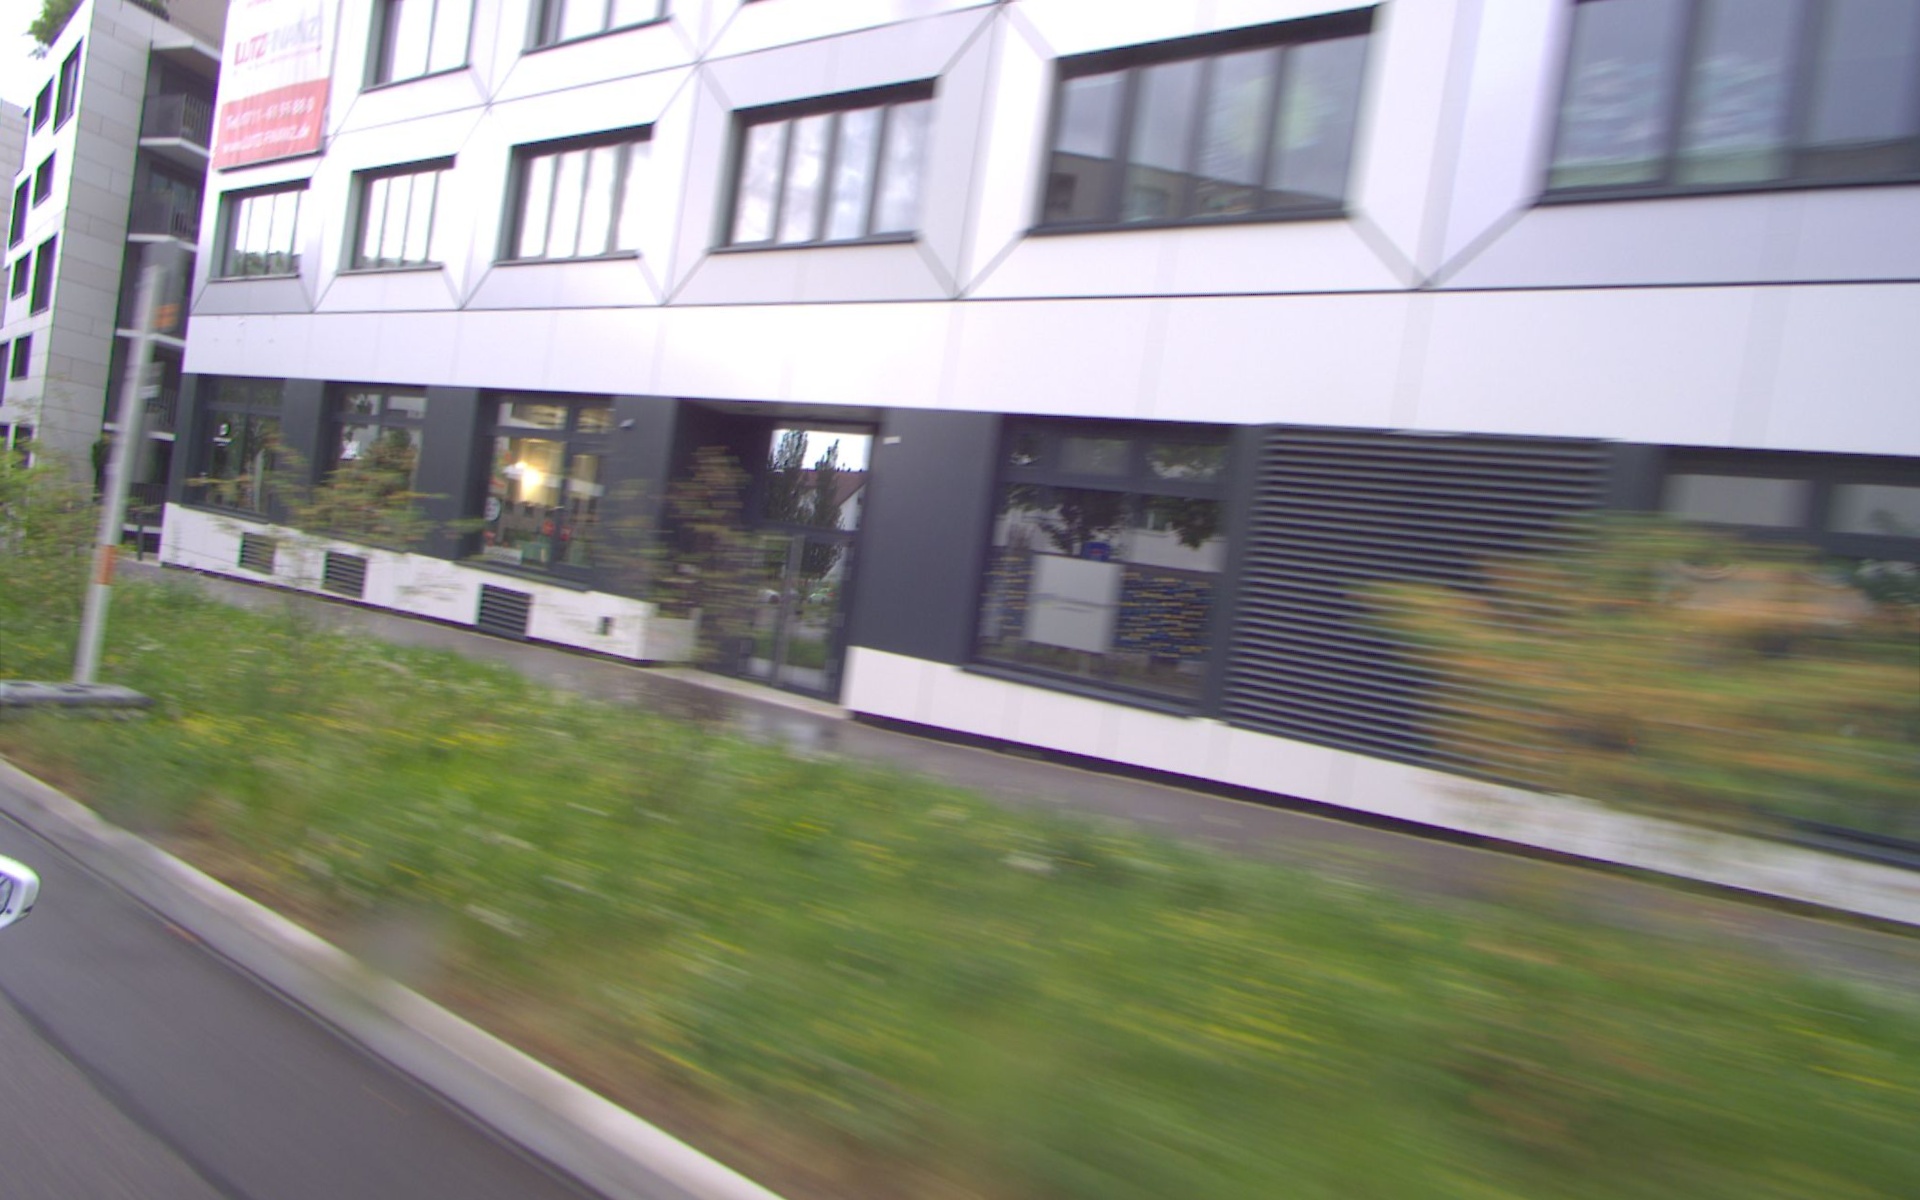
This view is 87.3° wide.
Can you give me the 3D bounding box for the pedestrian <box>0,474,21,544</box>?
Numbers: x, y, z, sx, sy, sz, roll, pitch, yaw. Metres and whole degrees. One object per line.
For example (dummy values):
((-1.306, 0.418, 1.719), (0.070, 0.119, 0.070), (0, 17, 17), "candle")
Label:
((-25.587, -2.444, 26.629), (0.766, 1.818, 0.822), (6, 0, 36), "pedestrian")
